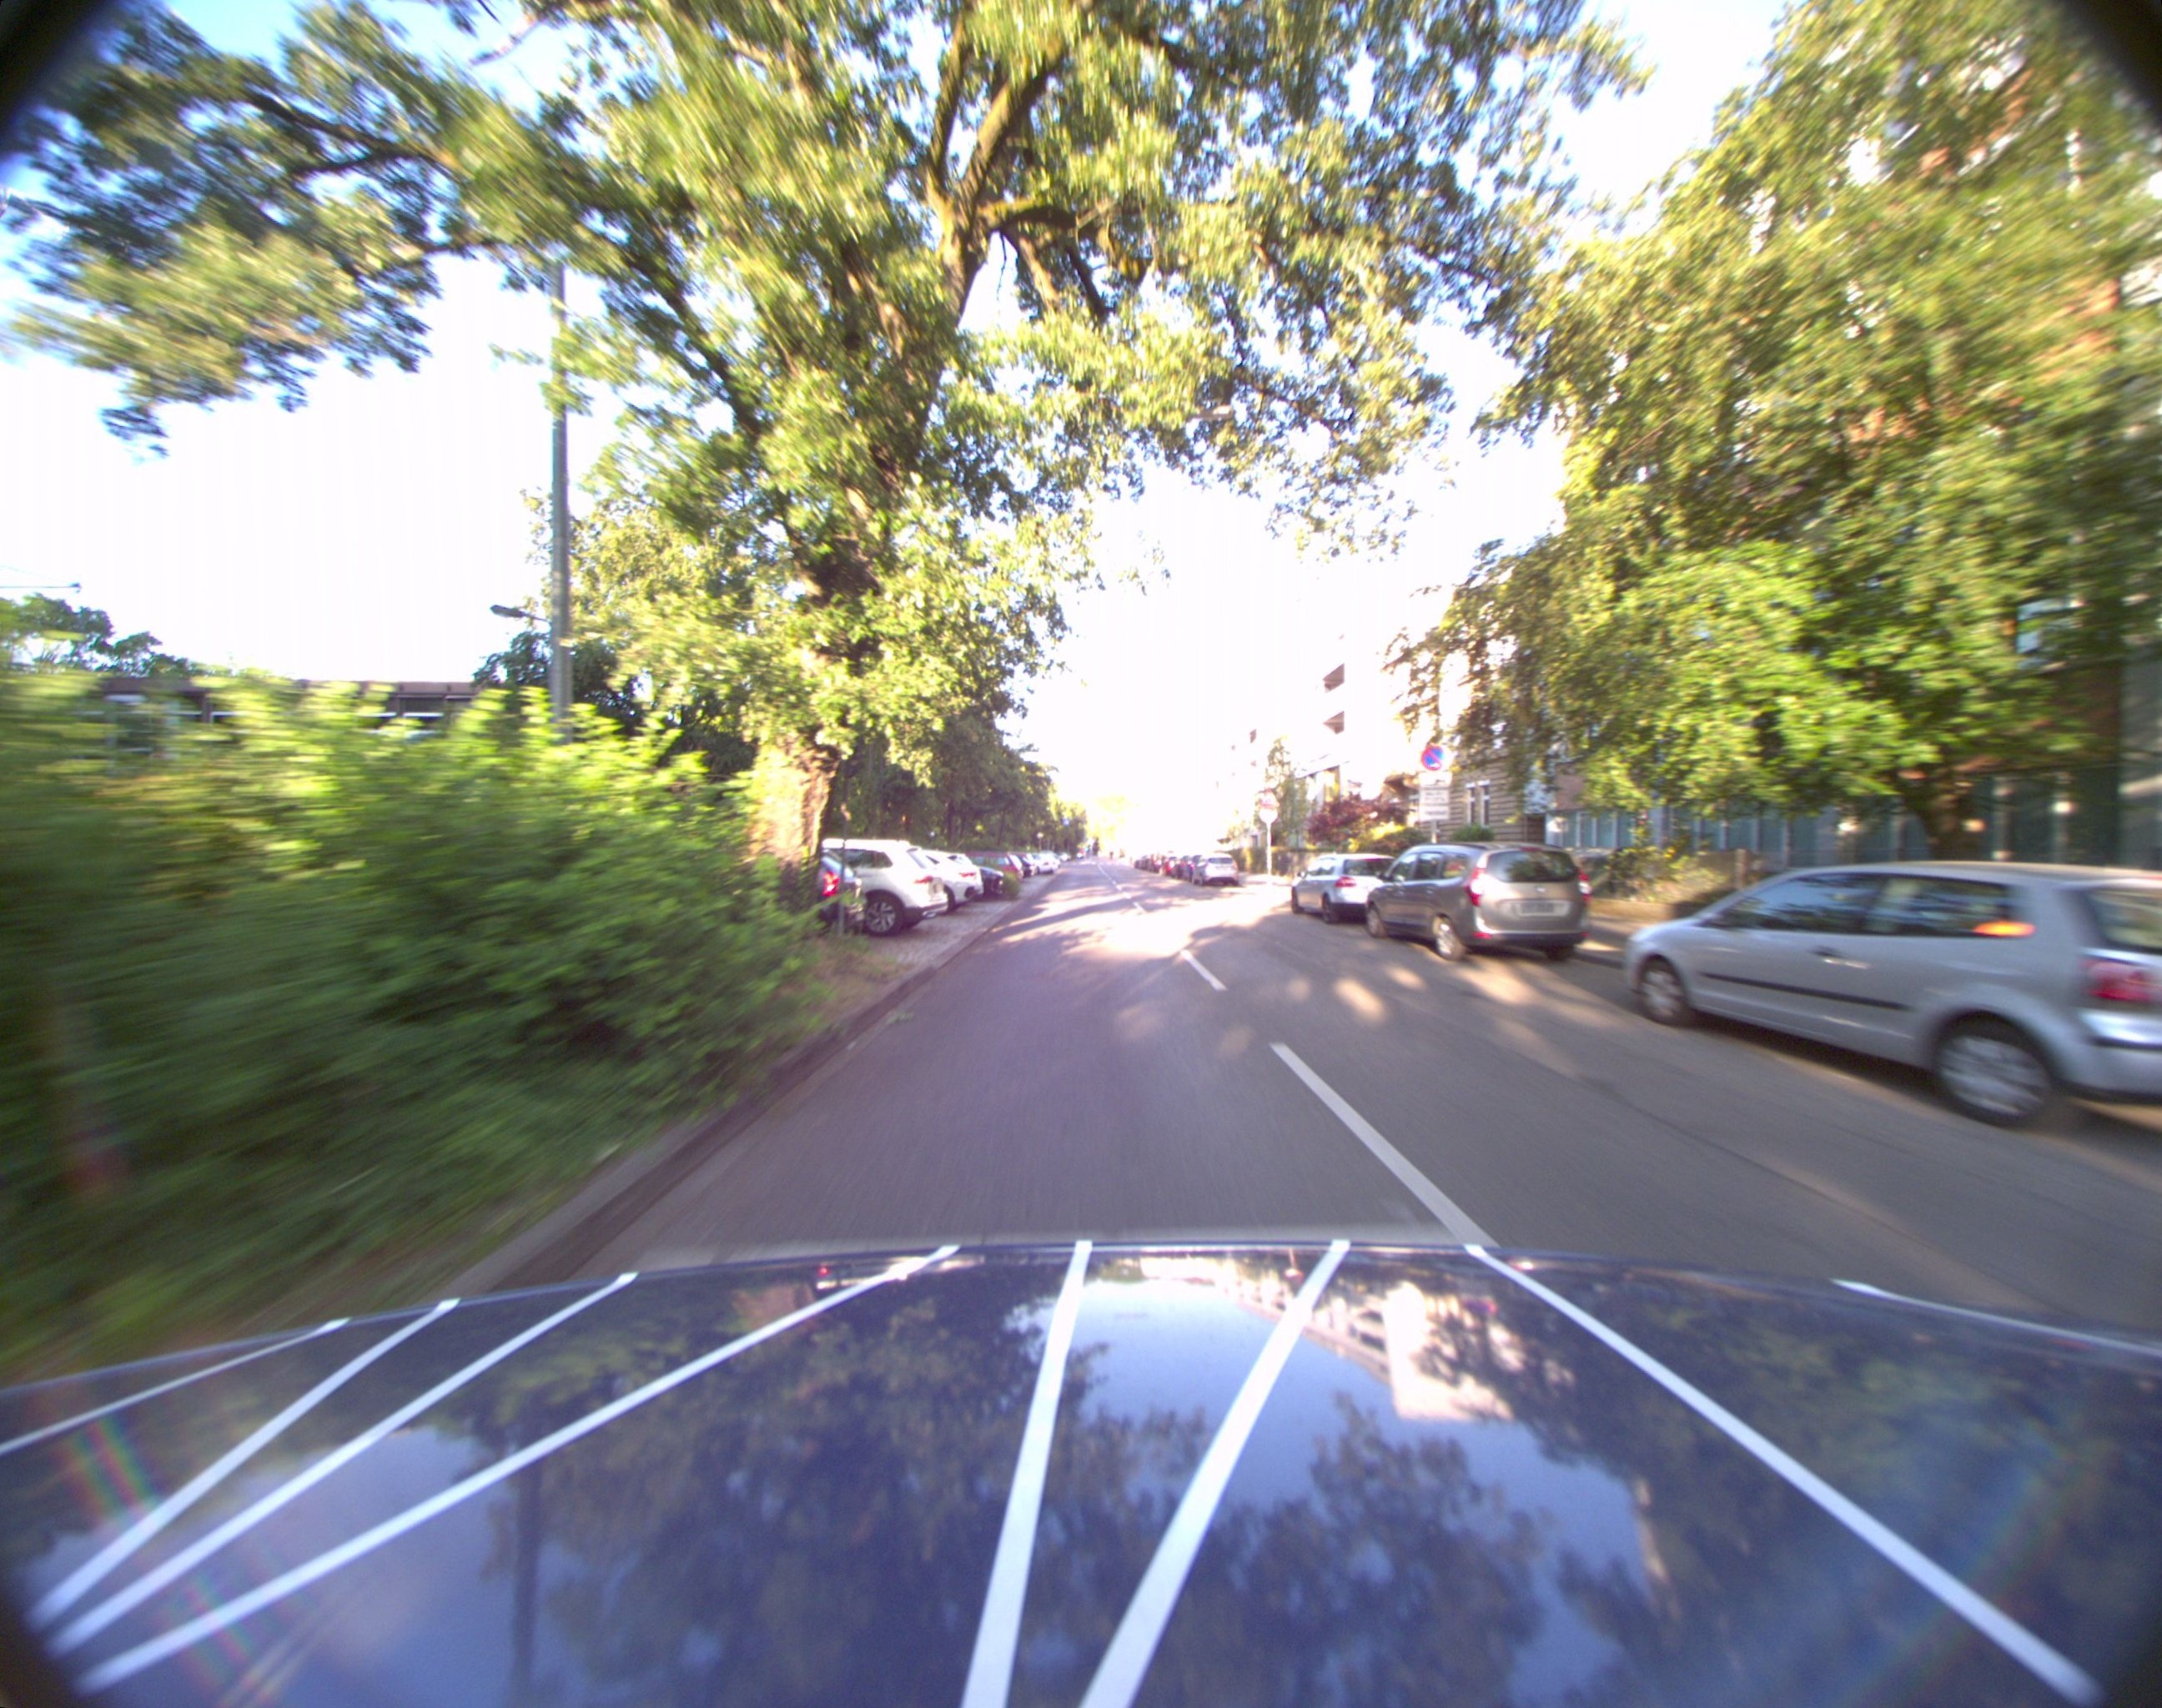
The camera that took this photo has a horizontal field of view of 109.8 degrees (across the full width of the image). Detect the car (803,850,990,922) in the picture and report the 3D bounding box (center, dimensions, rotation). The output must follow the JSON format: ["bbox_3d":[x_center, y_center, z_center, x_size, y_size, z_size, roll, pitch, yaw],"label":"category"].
[{"bbox_3d":[-4.385,0.734,18.496,4.132,1.658,1.723,0,1,1],"label":"car"}]

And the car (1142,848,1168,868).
[{"bbox_3d":[6.345,0.320,65.806,1.746,1.666,4.416,0,0,-1],"label":"car"}]

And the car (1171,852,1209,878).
[{"bbox_3d":[6.320,0.647,44.508,1.602,1.446,4.055,1,0,-1],"label":"car"}]

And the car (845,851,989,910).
[{"bbox_3d":[-4.469,0.695,21.115,3.598,1.557,1.818,0,1,0],"label":"car"}]

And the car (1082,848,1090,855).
[{"bbox_3d":[1.496,-0.690,230.243,2.228,2.002,4.890,0,0,1],"label":"car"}]

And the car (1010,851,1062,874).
[{"bbox_3d":[-3.232,0.639,55.457,3.676,1.436,1.735,3,0,-1],"label":"car"}]

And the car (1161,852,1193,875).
[{"bbox_3d":[6.325,0.598,50.510,1.602,1.447,3.861,1,0,-1],"label":"car"}]

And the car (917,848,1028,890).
[{"bbox_3d":[-4.487,0.630,31.908,4.349,1.466,1.742,3,-1,-1],"label":"car"}]

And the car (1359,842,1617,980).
[{"bbox_3d":[5.904,0.739,11.721,1.683,1.698,4.341,1,0,1],"label":"car"}]

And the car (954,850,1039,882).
[{"bbox_3d":[-4.343,0.612,39.479,4.131,1.466,1.831,3,0,-1],"label":"car"}]

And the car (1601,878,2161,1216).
[{"bbox_3d":[5.802,0.957,5.357,1.683,1.448,3.882,1,0,2],"label":"car"}]

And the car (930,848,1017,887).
[{"bbox_3d":[-4.816,0.601,34.461,3.722,1.546,1.741,3,0,-3],"label":"car"}]

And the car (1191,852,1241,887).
[{"bbox_3d":[6.189,0.696,35.220,1.605,1.485,3.772,1,0,0],"label":"car"}]

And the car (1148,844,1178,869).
[{"bbox_3d":[6.487,0.248,60.407,1.812,1.878,4.238,1,0,-1],"label":"car"}]

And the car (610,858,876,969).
[{"bbox_3d":[-4.867,0.821,11.312,3.201,1.484,1.684,0,0,-3],"label":"car"}]

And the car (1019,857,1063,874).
[{"bbox_3d":[-3.637,1.052,69.526,3.959,1.503,1.739,1,0,0],"label":"car"}]

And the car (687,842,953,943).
[{"bbox_3d":[-4.633,0.666,13.905,4.179,1.700,1.868,0,0,5],"label":"car"}]

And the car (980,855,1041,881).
[{"bbox_3d":[-4.596,0.894,50.125,3.734,1.490,1.820,3,1,1],"label":"car"}]

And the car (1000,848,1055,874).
[{"bbox_3d":[-3.679,0.494,52.741,3.676,1.543,1.735,3,0,-1],"label":"car"}]

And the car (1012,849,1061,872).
[{"bbox_3d":[-3.343,0.462,57.774,3.619,1.516,1.671,3,0,-1],"label":"car"}]

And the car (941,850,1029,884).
[{"bbox_3d":[-4.586,0.614,36.663,3.933,1.445,1.832,3,0,2],"label":"car"}]

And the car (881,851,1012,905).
[{"bbox_3d":[-4.066,0.725,23.420,3.754,1.585,1.696,0,1,-2],"label":"car"}]

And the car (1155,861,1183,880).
[{"bbox_3d":[6.359,1.180,55.274,1.560,1.272,3.733,1,0,-1],"label":"car"}]

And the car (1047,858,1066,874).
[{"bbox_3d":[-2.414,1.151,73.768,1.655,1.558,4.299,1,-1,-5],"label":"car"}]

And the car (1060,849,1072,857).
[{"bbox_3d":[-2.547,-0.162,130.980,1.752,1.478,4.177,0,0,4],"label":"car"}]

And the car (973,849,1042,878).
[{"bbox_3d":[-4.331,0.544,44.945,3.817,1.466,1.757,3,0,1],"label":"car"}]

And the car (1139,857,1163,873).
[{"bbox_3d":[6.561,1.011,71.533,1.747,1.524,4.115,0,0,-2],"label":"car"}]

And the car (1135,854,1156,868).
[{"bbox_3d":[6.441,0.651,76.075,1.746,1.349,4.396,1,0,0],"label":"car"}]

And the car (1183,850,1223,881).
[{"bbox_3d":[6.317,0.608,39.728,1.602,1.499,3.788,1,0,2],"label":"car"}]

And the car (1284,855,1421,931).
[{"bbox_3d":[5.966,0.792,17.207,1.675,1.485,4.062,1,0,1],"label":"car"}]
